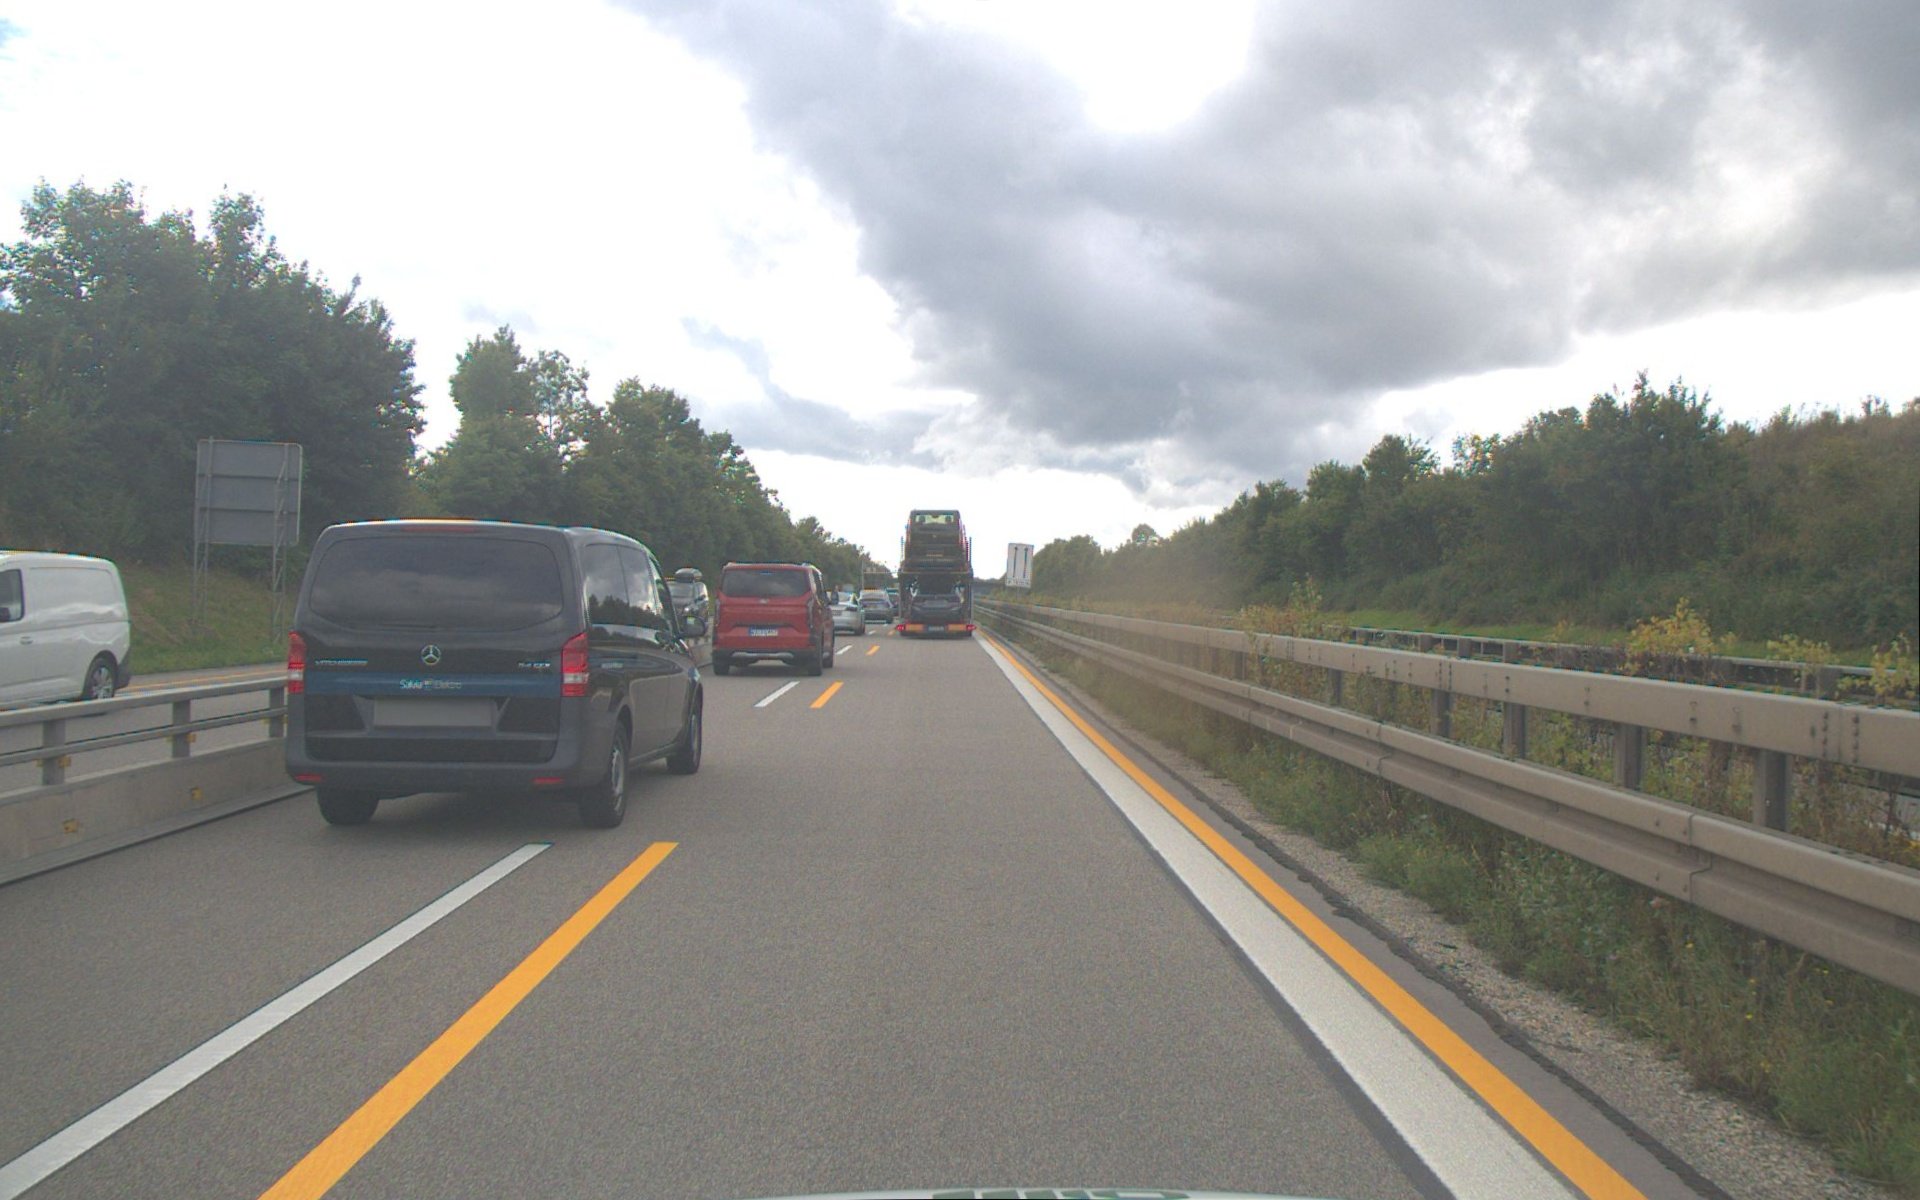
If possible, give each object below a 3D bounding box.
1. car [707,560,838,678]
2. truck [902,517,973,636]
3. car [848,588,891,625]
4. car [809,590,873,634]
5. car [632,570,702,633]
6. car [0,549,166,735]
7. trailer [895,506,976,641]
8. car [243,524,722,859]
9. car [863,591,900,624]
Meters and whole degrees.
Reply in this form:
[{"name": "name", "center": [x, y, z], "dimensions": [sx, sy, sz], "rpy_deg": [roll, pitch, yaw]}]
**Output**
[{"name": "car", "center": [-3.415, 0.328, 30.970], "dimensions": [1.990, 2.049, 4.577], "rpy_deg": [0, 0, -1]}, {"name": "truck", "center": [-0.808, -0.840, 61.652], "dimensions": [2.464, 4.177, 5.684], "rpy_deg": [1, 0, 0]}, {"name": "car", "center": [-4.435, 0.294, 81.381], "dimensions": [1.990, 1.788, 4.576], "rpy_deg": [0, 0, -2]}, {"name": "car", "center": [-4.074, 0.383, 57.230], "dimensions": [1.990, 1.456, 4.576], "rpy_deg": [0, 0, -2]}, {"name": "car", "center": [-11.245, 0.041, 63.870], "dimensions": [1.953, 2.292, 5.048], "rpy_deg": [1, 0, -2]}, {"name": "car", "center": [-10.376, 0.393, 17.208], "dimensions": [1.953, 1.823, 4.932], "rpy_deg": [1, 0, -2]}, {"name": "trailer", "center": [-0.796, -0.839, 56.899], "dimensions": [2.464, 4.177, 11.112], "rpy_deg": [1, 0, 0]}, {"name": "car", "center": [-3.076, 0.504, 12.078], "dimensions": [1.953, 1.875, 5.608], "rpy_deg": [0, 0, -1]}, {"name": "car", "center": [-4.389, 0.393, 93.250], "dimensions": [1.990, 1.788, 4.576], "rpy_deg": [0, 0, -2]}]
